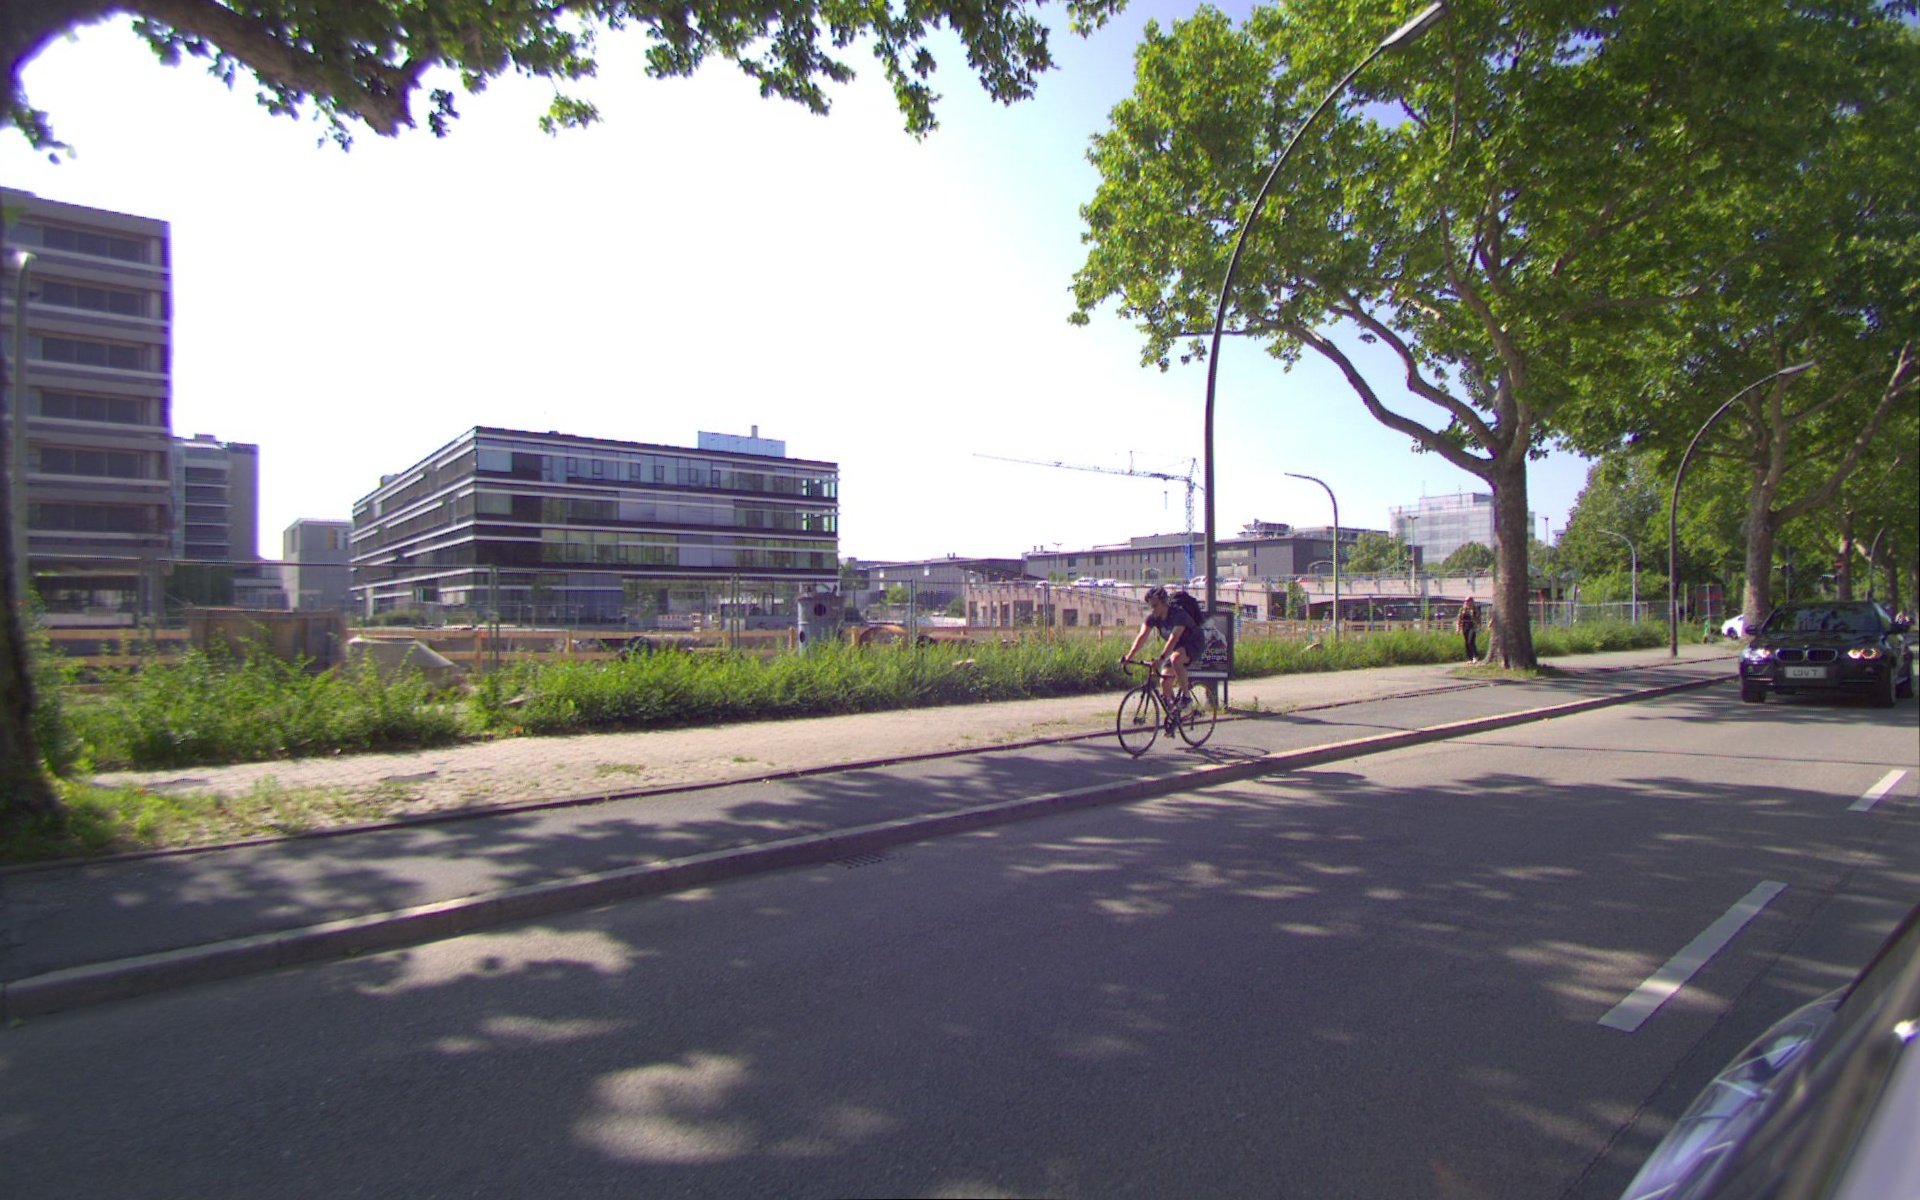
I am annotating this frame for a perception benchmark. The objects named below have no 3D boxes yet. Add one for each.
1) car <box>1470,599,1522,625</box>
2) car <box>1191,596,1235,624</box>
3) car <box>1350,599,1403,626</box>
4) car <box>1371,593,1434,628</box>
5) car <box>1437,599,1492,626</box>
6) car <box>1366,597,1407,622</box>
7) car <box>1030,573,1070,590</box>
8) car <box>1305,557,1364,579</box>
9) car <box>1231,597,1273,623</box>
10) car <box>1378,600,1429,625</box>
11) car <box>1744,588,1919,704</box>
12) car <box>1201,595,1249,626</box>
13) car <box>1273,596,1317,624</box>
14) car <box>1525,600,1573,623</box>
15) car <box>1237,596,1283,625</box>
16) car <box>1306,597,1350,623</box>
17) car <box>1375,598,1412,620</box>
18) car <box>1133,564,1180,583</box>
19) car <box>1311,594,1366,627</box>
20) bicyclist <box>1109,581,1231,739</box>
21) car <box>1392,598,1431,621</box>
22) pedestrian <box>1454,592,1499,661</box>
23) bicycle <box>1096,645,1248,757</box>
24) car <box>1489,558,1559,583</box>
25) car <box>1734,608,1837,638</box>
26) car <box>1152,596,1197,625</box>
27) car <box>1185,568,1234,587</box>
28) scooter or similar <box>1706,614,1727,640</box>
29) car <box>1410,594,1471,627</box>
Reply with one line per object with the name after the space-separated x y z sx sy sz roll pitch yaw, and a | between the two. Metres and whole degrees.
50.946 1.164 96.186 1.778 2.352 3.990 1 -2 -43 | car
25.907 1.061 103.620 1.778 2.774 3.990 1 -2 -43 | car
37.450 1.149 91.020 1.778 2.352 3.990 1 -2 -43 | car
35.936 0.889 82.253 1.778 2.774 4.367 1 -2 -43 | car
45.212 1.131 90.735 1.778 2.352 3.990 1 -2 -43 | car
49.701 1.130 117.999 1.778 2.774 3.990 1 -2 -43 | car
9.173 -1.870 103.299 1.778 1.529 3.990 1 -2 -43 | car
29.537 -2.531 79.911 1.778 1.529 3.990 1 -2 -43 | car
31.133 1.087 108.083 1.778 2.774 3.990 1 -2 -43 | car
41.487 1.171 94.696 1.778 2.352 3.990 1 -2 -43 | car
15.151 0.732 17.382 4.080 1.753 1.921 0 -2 -42 | car
24.765 0.991 94.741 1.778 2.774 3.990 1 -2 -43 | car
34.542 1.049 104.339 1.778 2.774 3.990 1 -2 -43 | car
61.050 1.215 104.945 1.778 2.352 3.990 1 -2 -43 | car
29.556 1.022 99.760 1.778 2.774 3.990 1 -2 -43 | car
39.592 1.076 108.910 1.778 2.774 3.990 1 -2 -43 | car
56.166 1.224 131.172 1.778 2.774 3.990 1 -2 -43 | car
18.025 -2.401 93.033 1.778 1.529 3.990 1 -2 -43 | car
32.342 0.912 86.500 1.778 2.774 3.990 1 -2 -43 | car
2.166 0.582 10.388 1.194 1.508 0.599 1 1 -42 | bicyclist
54.654 1.157 122.516 1.778 2.774 3.990 1 -2 -43 | car
13.061 0.670 25.577 0.942 1.705 0.696 1 -2 -42 | pedestrian
2.216 0.999 10.448 1.750 0.992 0.598 1 1 -42 | bicycle
39.950 -2.067 71.733 1.778 1.529 3.990 1 -2 -43 | car
41.621 1.156 51.138 1.861 1.427 3.999 0 -1 0 | car
21.026 1.034 99.137 1.778 2.774 3.990 1 -2 -43 | car
22.590 -2.003 91.732 1.778 1.529 3.990 1 -2 -43 | car
33.544 1.175 44.854 1.108 1.136 0.482 1 -2 -40 | scooter or similar
41.160 0.915 86.775 1.778 2.774 4.367 1 -2 -43 | car
